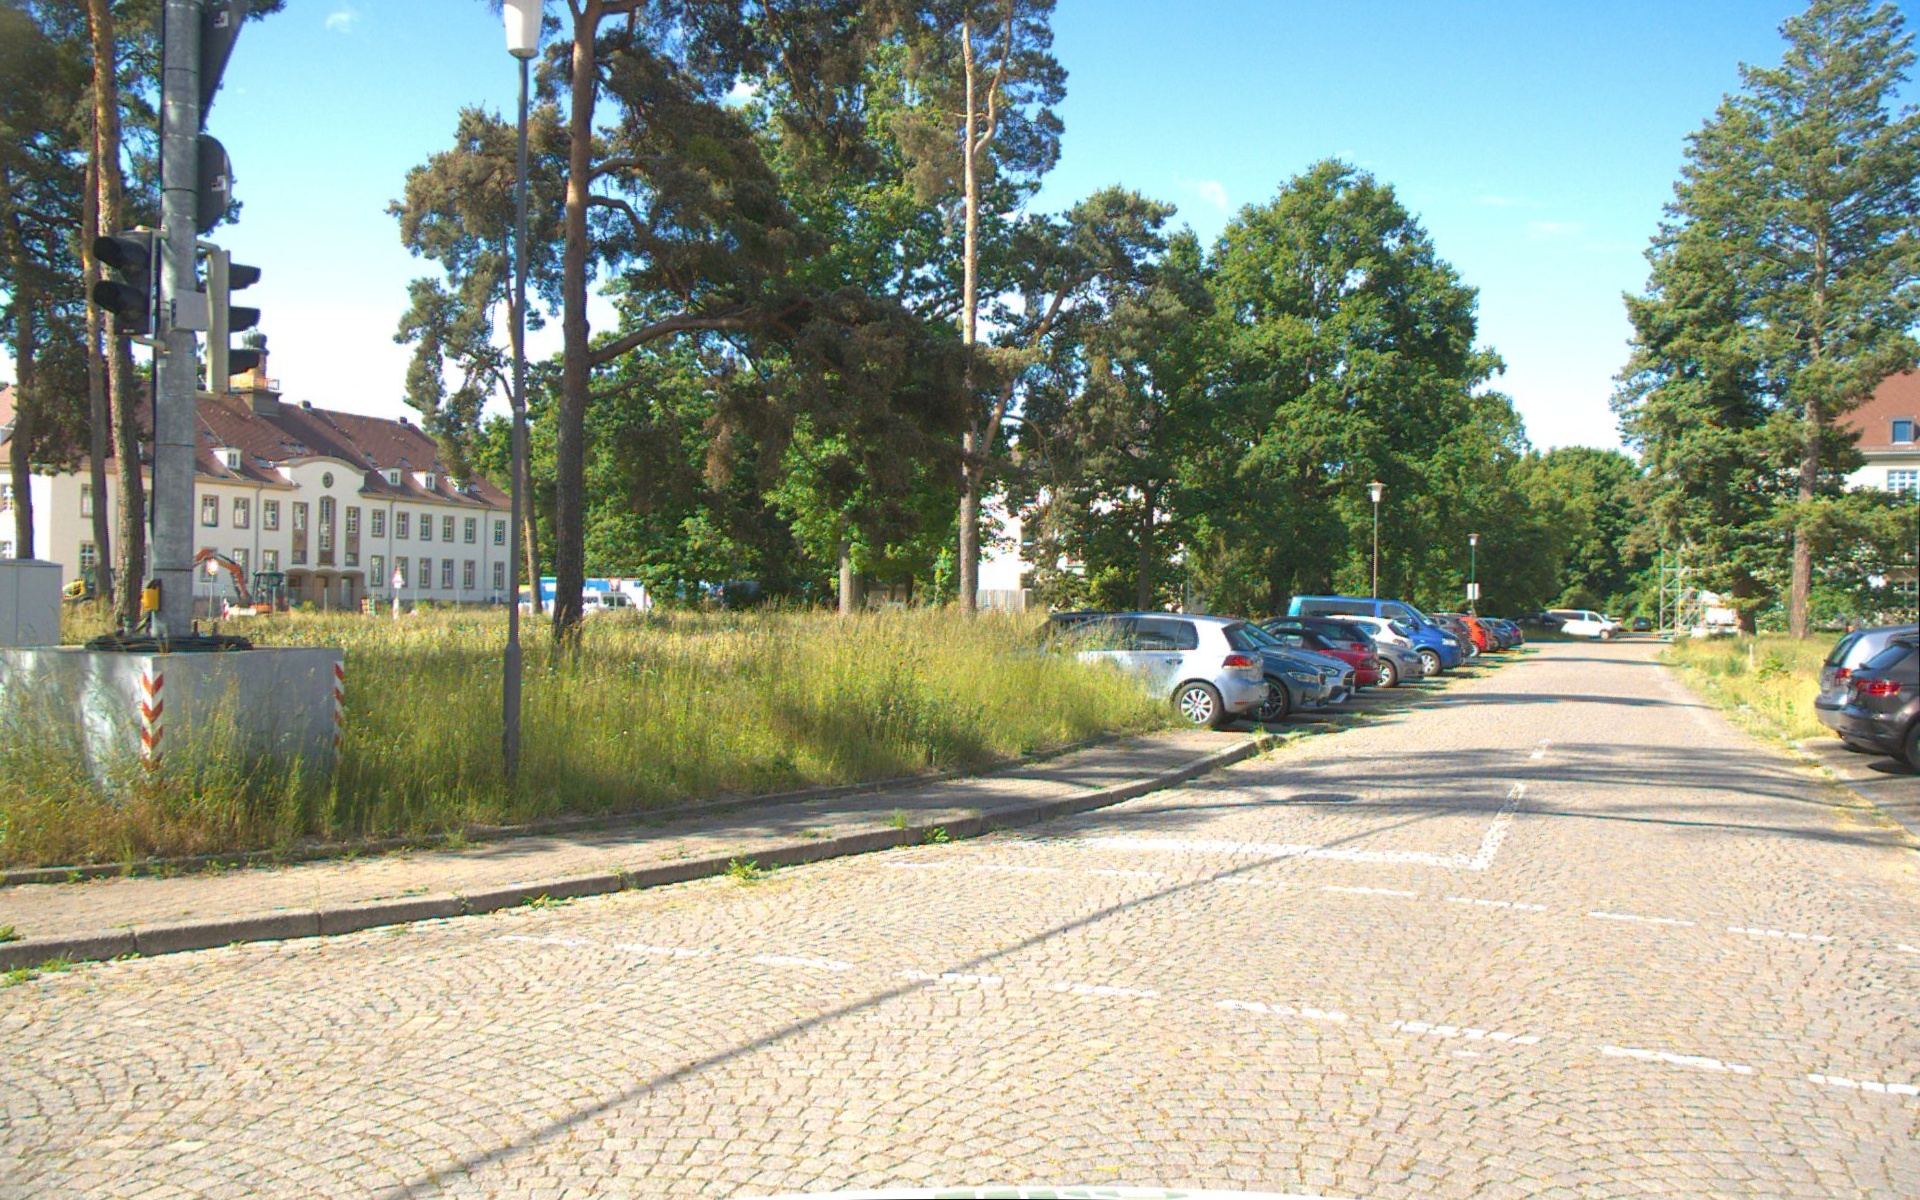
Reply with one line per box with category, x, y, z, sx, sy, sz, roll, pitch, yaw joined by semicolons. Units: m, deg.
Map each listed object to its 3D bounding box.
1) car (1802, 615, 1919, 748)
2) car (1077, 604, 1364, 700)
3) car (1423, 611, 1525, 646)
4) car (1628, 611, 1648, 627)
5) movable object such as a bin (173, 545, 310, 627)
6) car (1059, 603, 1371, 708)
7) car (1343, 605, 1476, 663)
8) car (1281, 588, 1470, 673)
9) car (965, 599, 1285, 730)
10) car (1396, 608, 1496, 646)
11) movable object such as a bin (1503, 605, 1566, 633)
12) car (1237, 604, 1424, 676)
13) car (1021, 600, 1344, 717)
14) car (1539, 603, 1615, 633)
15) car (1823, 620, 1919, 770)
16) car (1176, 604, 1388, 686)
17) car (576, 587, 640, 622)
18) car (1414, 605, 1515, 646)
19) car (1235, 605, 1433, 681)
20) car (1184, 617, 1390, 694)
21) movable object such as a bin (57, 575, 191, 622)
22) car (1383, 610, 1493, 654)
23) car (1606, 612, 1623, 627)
car;12.104;0.911;19.483;3.663;1.502;1.752;-2;-1;20
car;4.695;0.890;29.826;4.766;1.445;1.938;2;0;22
car;23.710;1.295;76.354;4.273;1.470;1.919;2;1;25
car;73.855;2.099;180.271;1.930;1.697;4.086;0;0;21
movable object such as a bin;-34.927;-0.642;80.750;3.839;3.796;6.788;1;0;-2
car;4.234;0.882;27.483;4.766;1.445;1.938;2;-1;22
car;14.370;1.066;52.853;3.872;1.595;1.974;3;1;21
car;11.178;0.782;44.483;4.622;2.002;2.005;3;0;22
car;2.269;0.813;22.520;3.943;1.509;1.949;2;1;20
car;20.555;1.122;69.999;3.844;1.458;1.841;2;1;23
movable object such as a bin;37.921;1.241;109.199;3.512;1.775;2.014;0;-1;41
car;8.899;0.918;39.719;4.111;1.501;1.823;2;1;22
car;3.370;0.836;24.900;4.486;1.477;1.985;2;0;19
car;44.908;1.274;120.436;5.127;2.051;1.950;1;0;22
car;11.178;0.915;16.898;3.921;1.466;1.844;-2;-1;20
car;6.700;0.916;34.387;3.995;1.477;1.821;2;-1;23
car;-25.687;0.324;120.801;1.944;2.479;5.275;0;0;22
car;21.960;1.078;72.013;4.051;1.607;1.884;2;1;22
car;8.337;0.917;36.835;3.995;1.450;1.922;2;1;23
car;6.276;1.035;31.675;3.557;1.255;1.759;2;-1;23
movable object such as a bin;-40.545;-0.051;80.400;5.583;2.163;2.511;1;-1;-23
car;18.070;1.184;62.498;3.842;1.486;1.842;2;1;21
car;71.565;2.126;180.884;1.775;1.607;4.134;0;0;21
